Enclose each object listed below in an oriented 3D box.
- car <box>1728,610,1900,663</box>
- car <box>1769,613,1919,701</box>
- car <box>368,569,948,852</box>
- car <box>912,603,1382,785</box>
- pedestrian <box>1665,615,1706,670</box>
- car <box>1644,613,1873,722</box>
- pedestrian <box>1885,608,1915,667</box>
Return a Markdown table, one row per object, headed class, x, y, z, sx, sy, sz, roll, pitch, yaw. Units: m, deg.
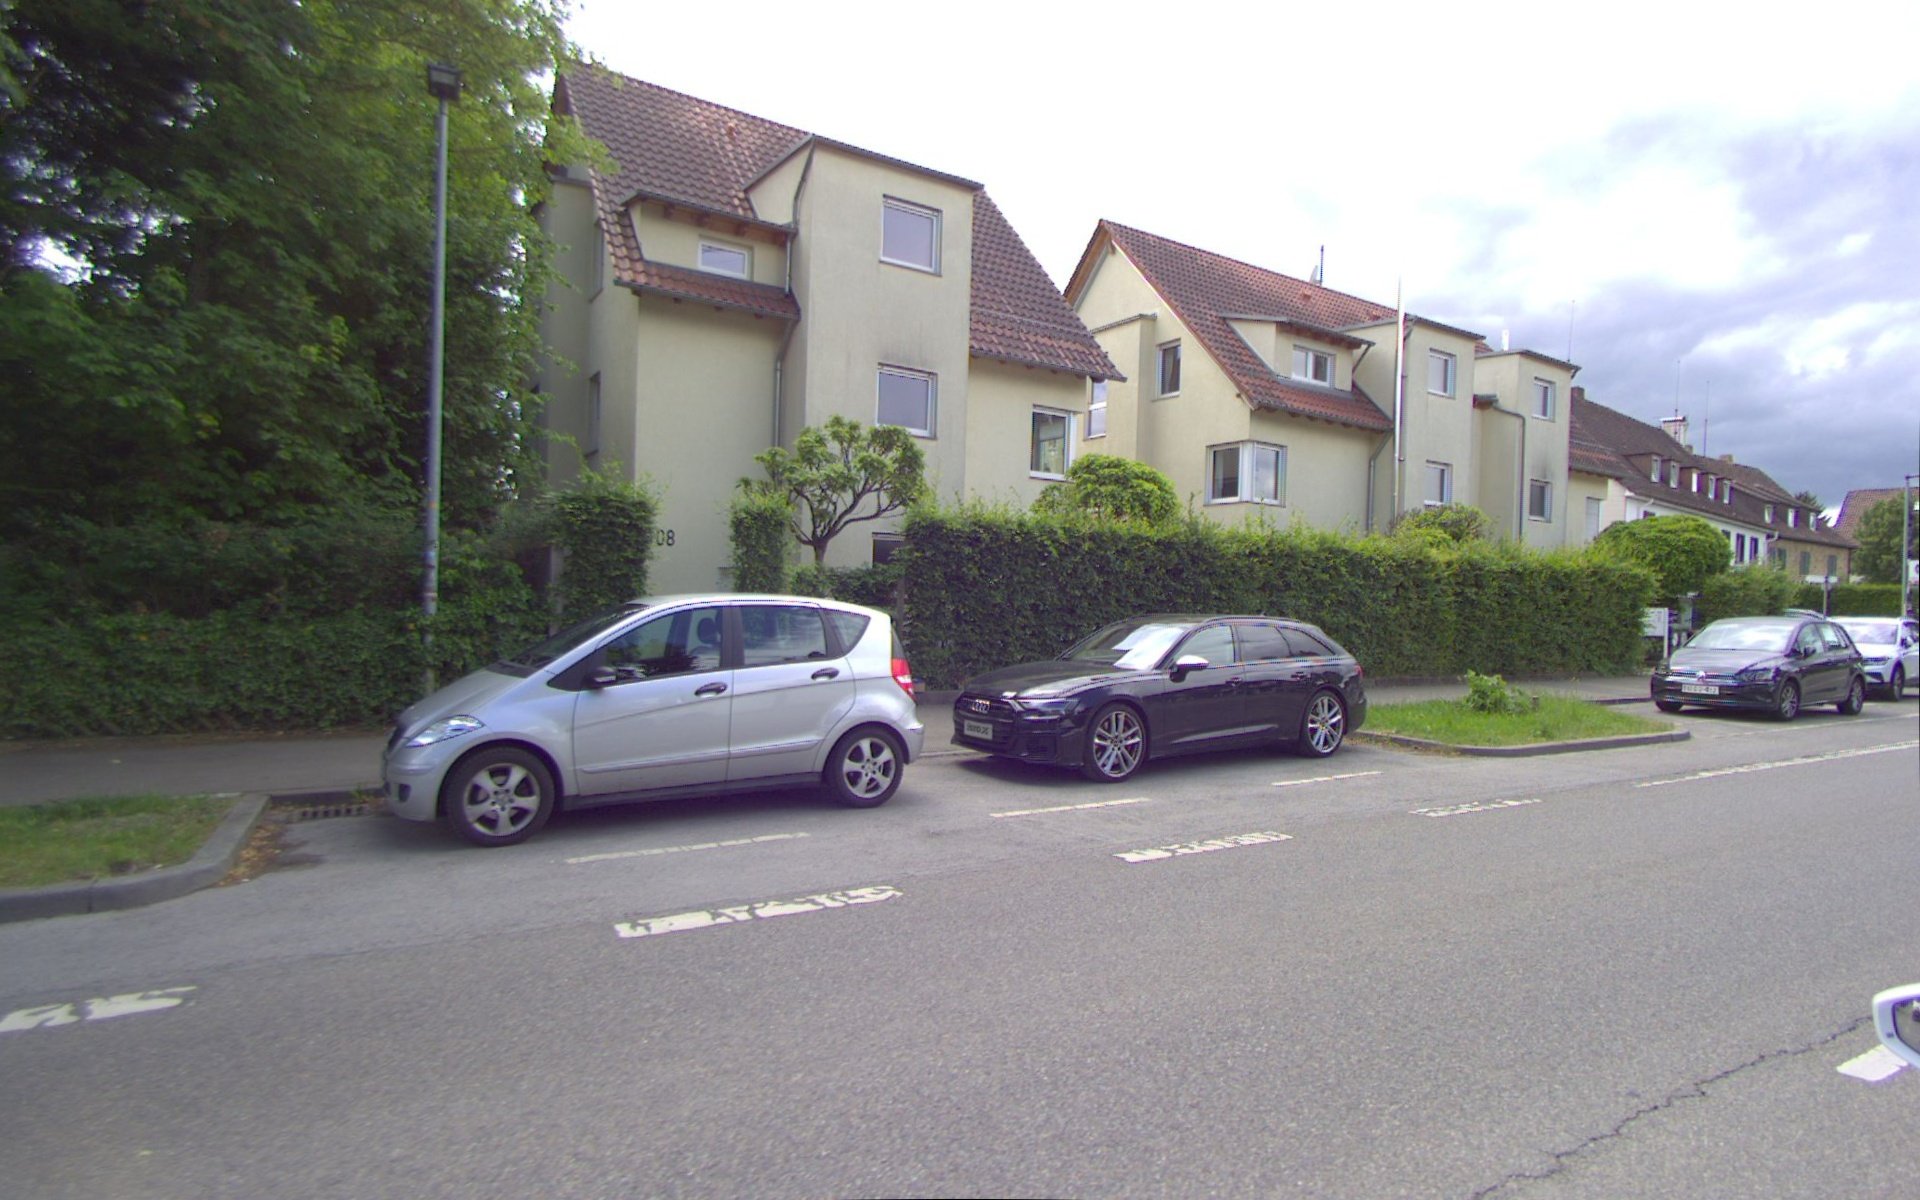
| class | x | y | z | sx | sy | sz | roll | pitch | yaw |
| --- | --- | --- | --- | --- | --- | --- | --- | --- | --- |
| car | 30.003 | 1.236 | 35.414 | 4.463 | 1.574 | 2.025 | 3 | 1 | 43 |
| car | 18.923 | 1.133 | 21.063 | 4.538 | 1.656 | 1.809 | 1 | -1 | -34 |
| car | -2.185 | 0.679 | 7.547 | 3.866 | 1.634 | 1.709 | 1 | -1 | -31 |
| car | 2.075 | 0.833 | 10.477 | 4.839 | 1.504 | 1.981 | 1 | -1 | -34 |
| pedestrian | 21.434 | 1.257 | 29.670 | 0.825 | 1.581 | 0.668 | 1 | 0 | -25 |
| car | 13.197 | 1.037 | 16.534 | 4.226 | 1.572 | 1.667 | 1 | 0 | -33 |
| pedestrian | 29.969 | 1.192 | 32.018 | 0.664 | 1.830 | 0.501 | 1 | 0 | -31 |
